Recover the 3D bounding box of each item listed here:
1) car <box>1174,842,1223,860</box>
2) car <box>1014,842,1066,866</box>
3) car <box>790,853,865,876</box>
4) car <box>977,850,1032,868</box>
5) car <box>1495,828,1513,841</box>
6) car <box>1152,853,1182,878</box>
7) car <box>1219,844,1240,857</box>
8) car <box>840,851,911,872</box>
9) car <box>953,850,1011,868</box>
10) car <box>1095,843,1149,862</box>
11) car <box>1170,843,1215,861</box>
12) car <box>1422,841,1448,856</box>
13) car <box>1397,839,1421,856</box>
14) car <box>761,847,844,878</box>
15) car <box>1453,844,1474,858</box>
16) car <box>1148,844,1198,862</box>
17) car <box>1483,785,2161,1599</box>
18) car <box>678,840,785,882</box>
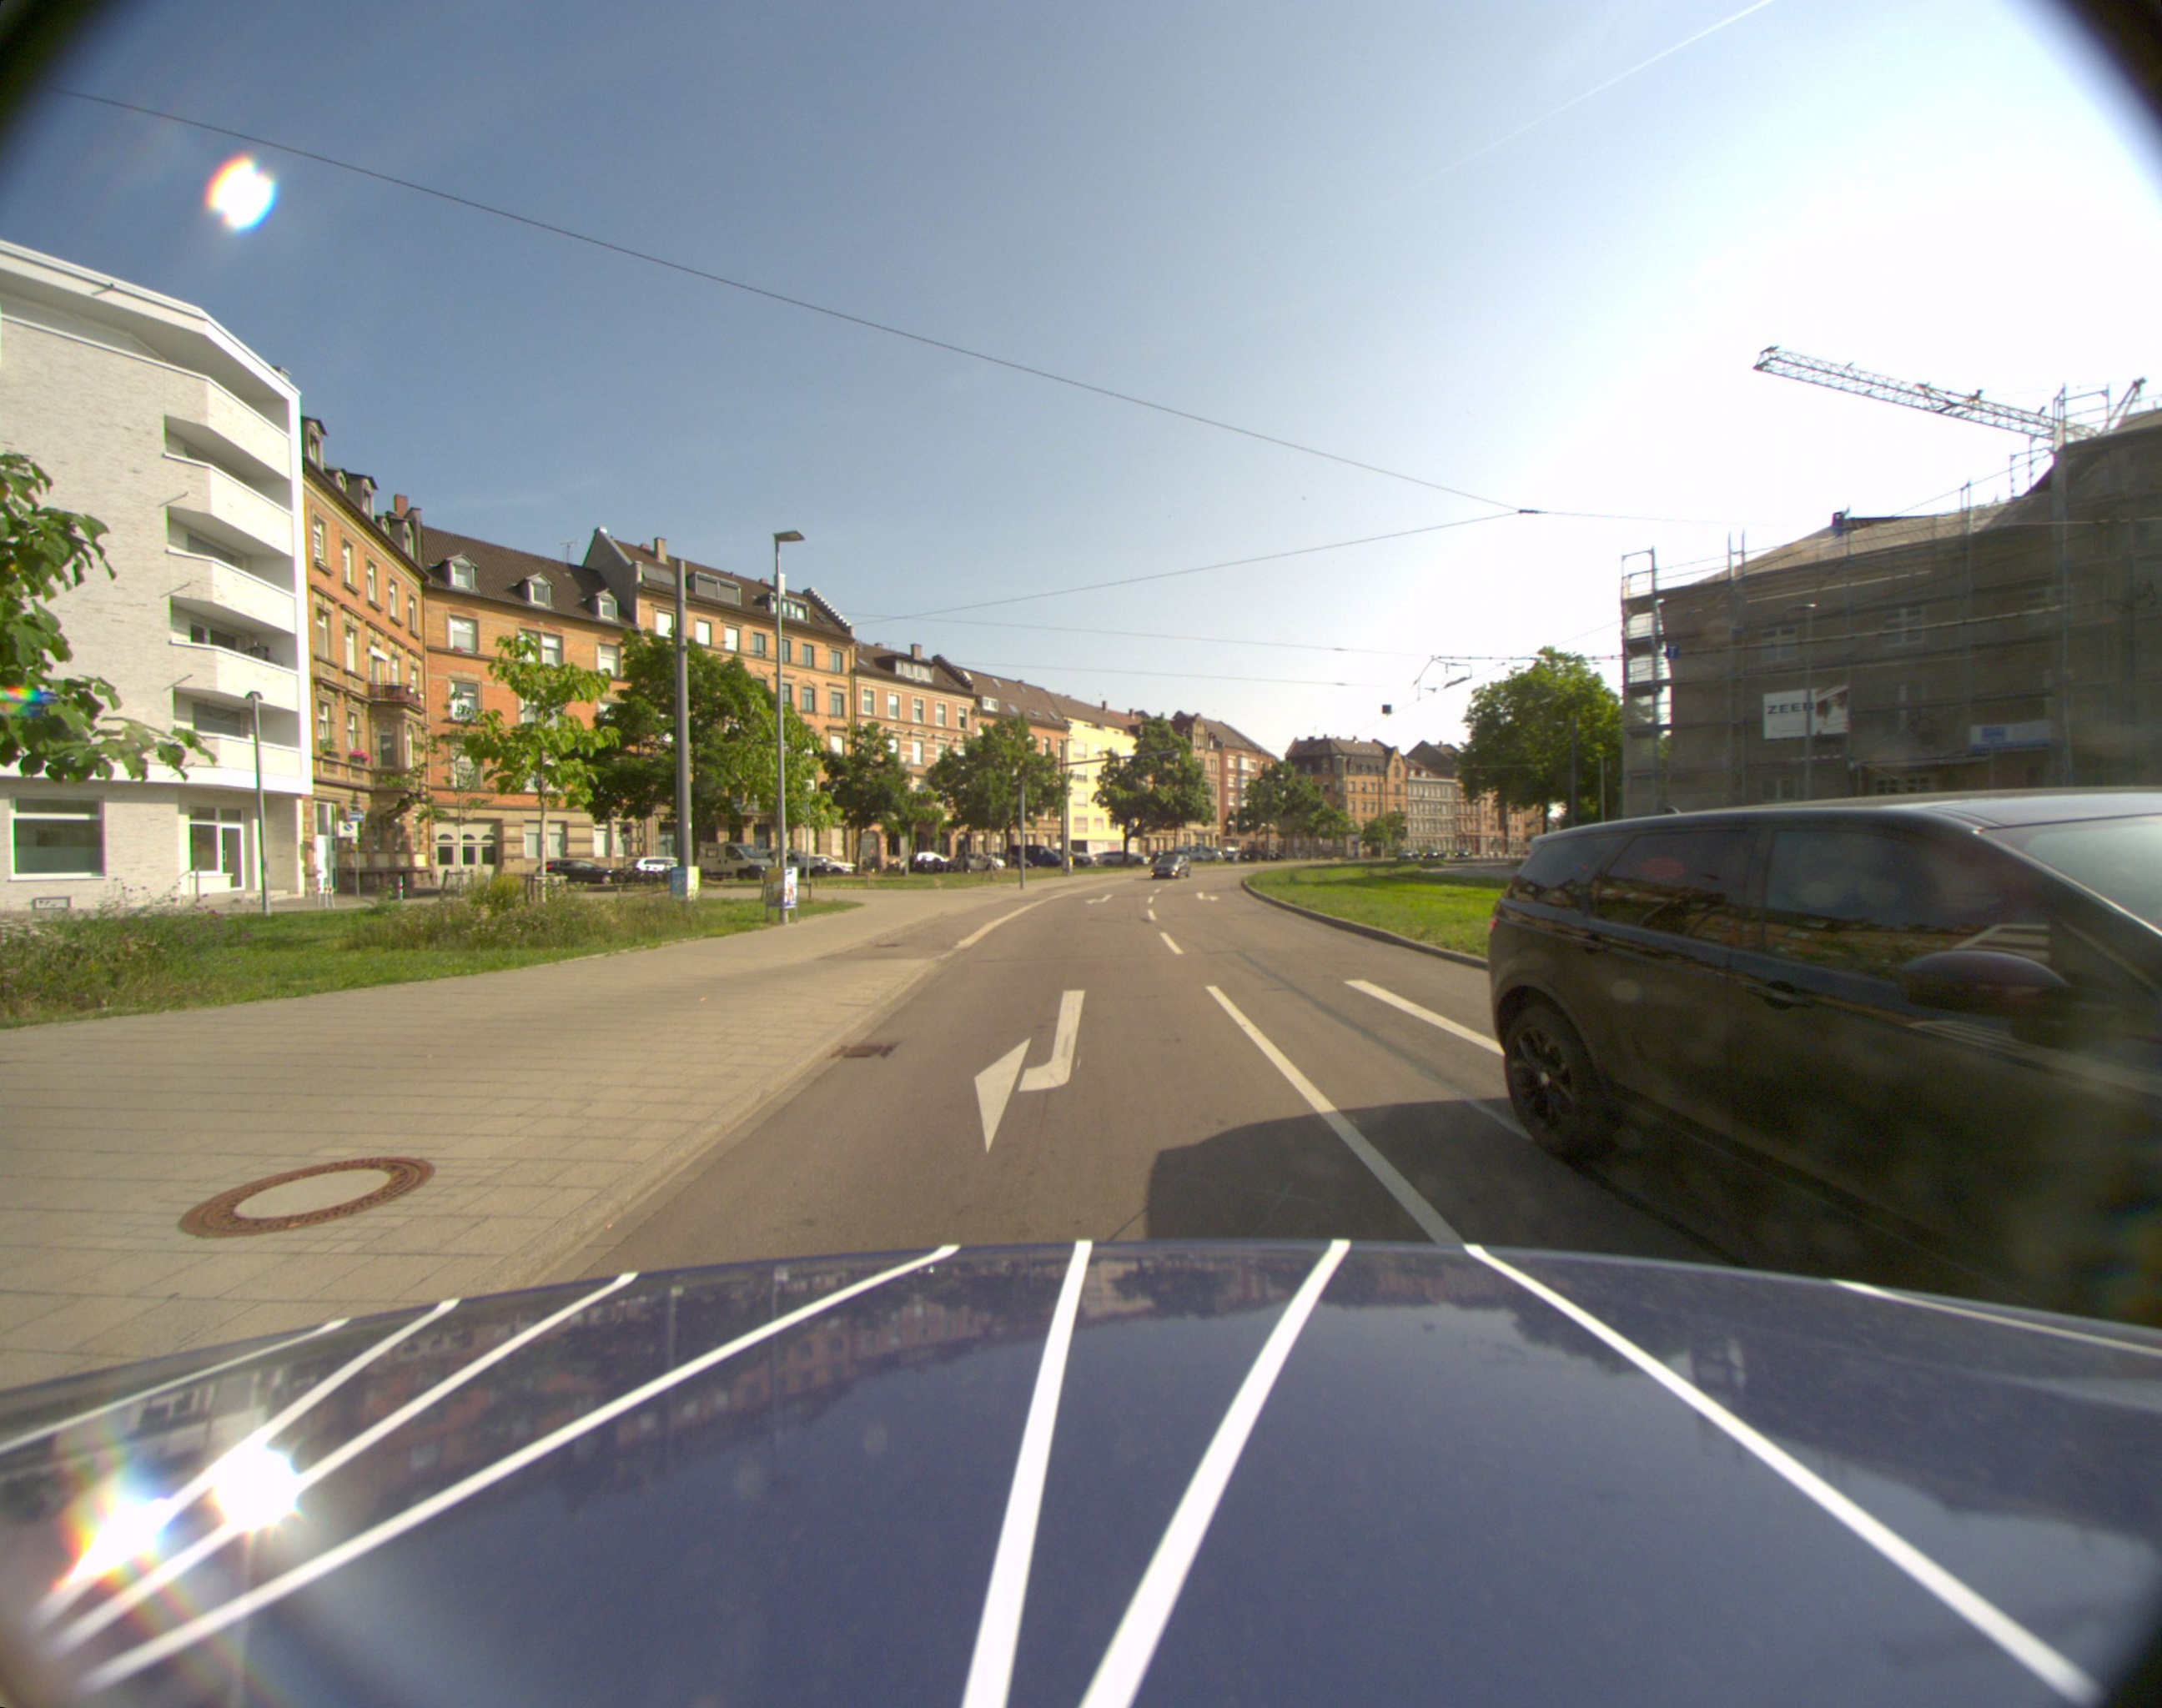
[{"bbox_3d":[12.500,-0.328,80.915,4.923,1.827,1.721,0,1,-1],"label":"car"},{"bbox_3d":[-3.233,0.003,60.013,3.851,1.795,1.787,-1,1,6],"label":"car"},{"bbox_3d":[-15.092,0.618,45.399,3.852,1.242,1.722,-1,0,4],"label":"car"},{"bbox_3d":[-5.746,0.360,57.379,3.852,1.242,1.722,-1,0,4],"label":"car"},{"bbox_3d":[67.627,-3.150,121.514,1.994,1.967,4.007,-1,1,36],"label":"car"},{"bbox_3d":[5.355,0.660,47.075,1.642,1.411,3.898,-1,1,9],"label":"car"},{"bbox_3d":[20.056,-0.470,102.257,2.790,1.722,1.326,-1,1,-41],"label":"car"},{"bbox_3d":[-12.806,0.478,47.474,3.852,1.242,1.722,-1,0,4],"label":"car"},{"bbox_3d":[-7.204,0.373,55.459,3.852,1.242,1.722,-1,0,4],"label":"car"},{"bbox_3d":[3.823,-0.152,70.329,4.731,1.755,1.723,1,1,11],"label":"car"},{"bbox_3d":[11.494,-0.188,78.331,4.415,1.755,1.722,0,1,3],"label":"car"},{"bbox_3d":[44.190,-0.711,94.785,1.994,1.849,4.008,0,1,39],"label":"car"},{"bbox_3d":[42.517,-0.849,98.488,1.994,2.002,4.007,-1,1,36],"label":"car"},{"bbox_3d":[-15.846,0.459,43.304,3.980,1.696,1.880,-1,1,4],"label":"car"},{"bbox_3d":[57.060,-0.479,113.175,1.994,2.002,4.008,0,1,39],"label":"car"},{"bbox_3d":[9.199,-0.104,75.875,4.731,1.755,1.723,1,1,11],"label":"car"},{"bbox_3d":[3.123,0.688,2.135,1.801,1.668,4.221,0,0,1],"label":"car"},{"bbox_3d":[-18.804,0.356,40.951,5.039,2.166,1.881,-1,1,11],"label":"car"}]
